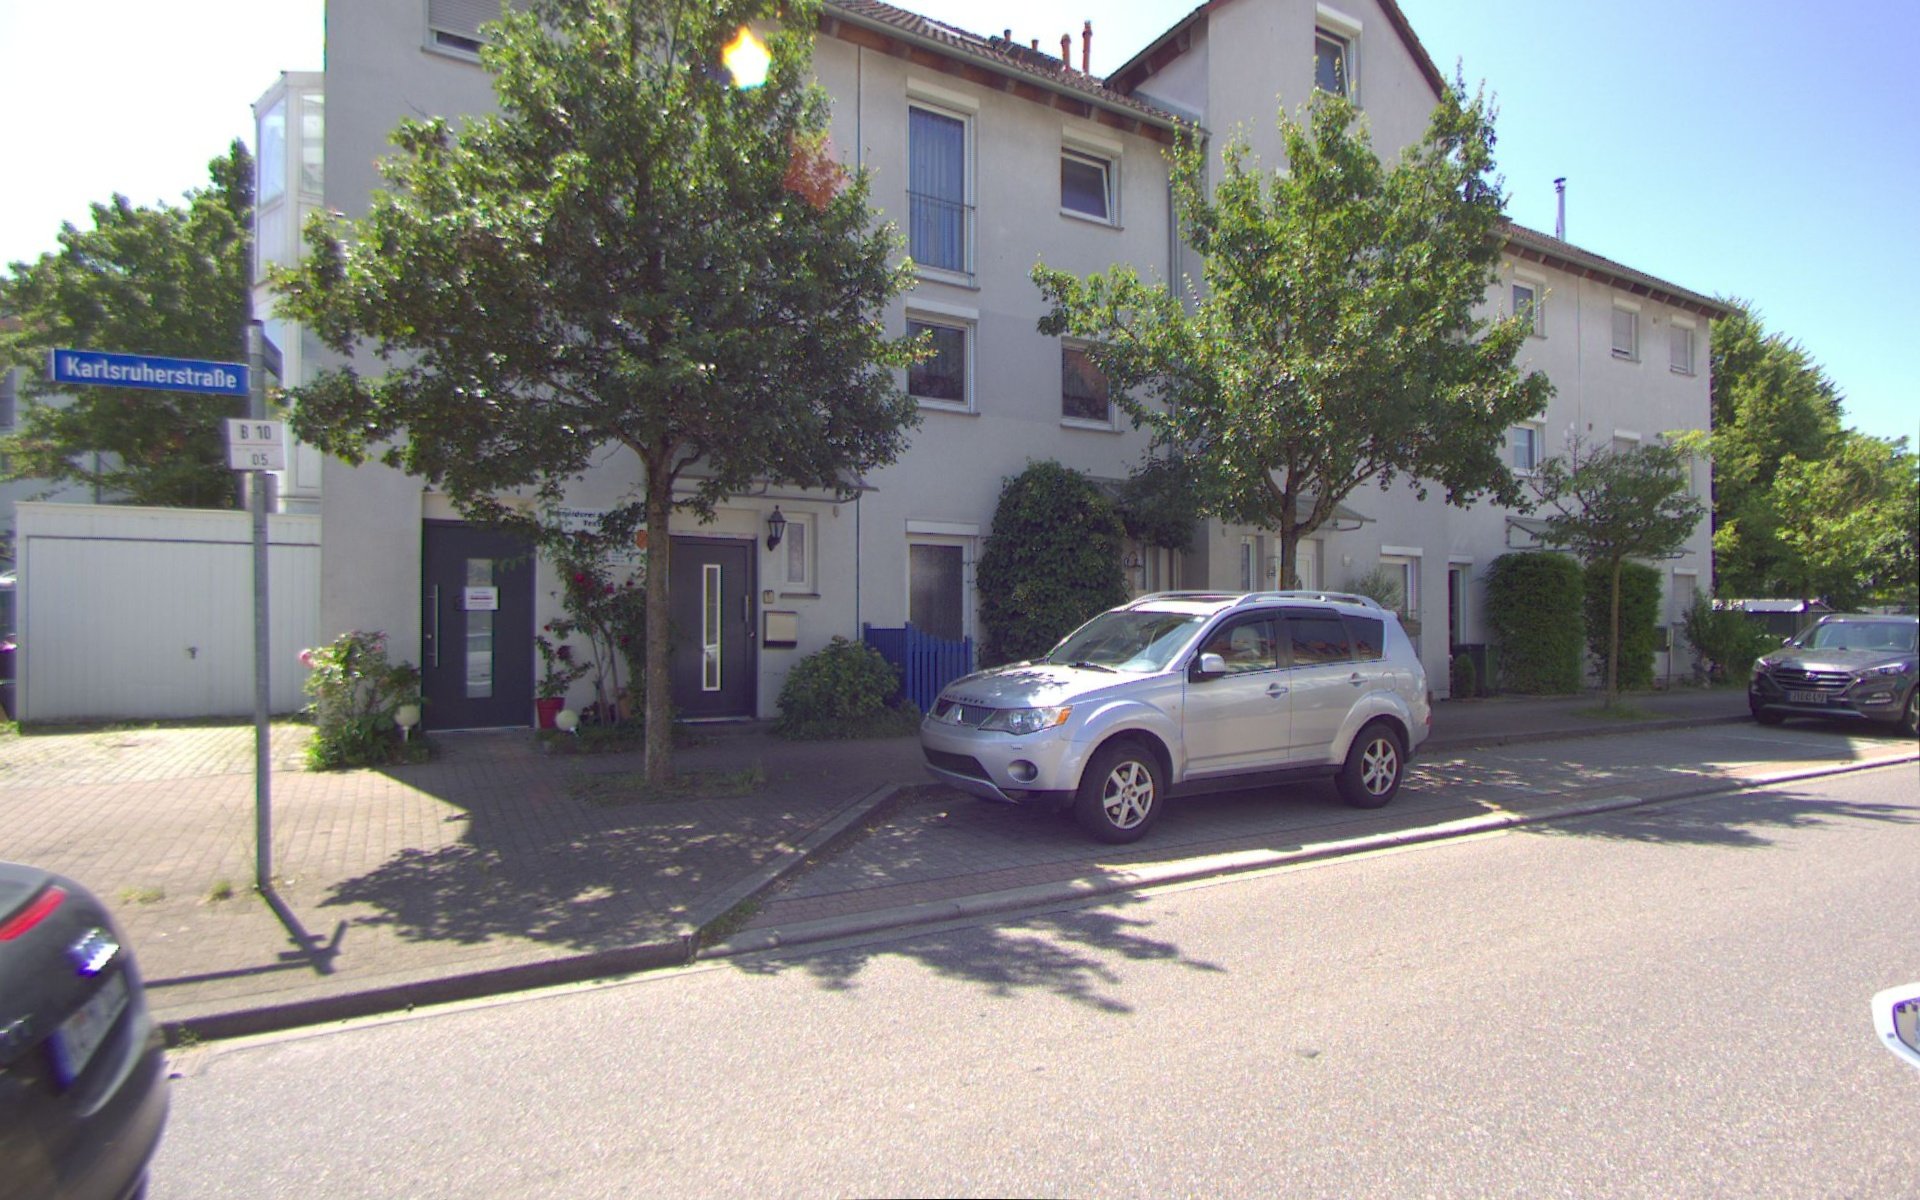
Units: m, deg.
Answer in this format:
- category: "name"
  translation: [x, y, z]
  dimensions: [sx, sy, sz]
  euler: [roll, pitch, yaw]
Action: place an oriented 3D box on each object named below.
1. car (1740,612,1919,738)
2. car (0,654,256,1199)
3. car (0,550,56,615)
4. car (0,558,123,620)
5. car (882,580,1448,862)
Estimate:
- category: "car"
  translation: [13.453, 1.018, 14.844]
  dimensions: [3.950, 1.641, 1.684]
  euler: [1, 0, -30]
- category: "car"
  translation: [-3.240, 0.790, 1.140]
  dimensions: [3.823, 1.388, 1.698]
  euler: [1, -3, -30]
- category: "car"
  translation: [-25.473, -0.482, 25.721]
  dimensions: [1.720, 1.645, 3.988]
  euler: [2, 1, -14]
- category: "car"
  translation: [-23.335, -0.308, 25.727]
  dimensions: [1.668, 1.447, 3.980]
  euler: [1, 1, -21]
- category: "car"
  translation: [1.758, 0.765, 8.003]
  dimensions: [4.474, 1.709, 1.697]
  euler: [1, 0, -31]
